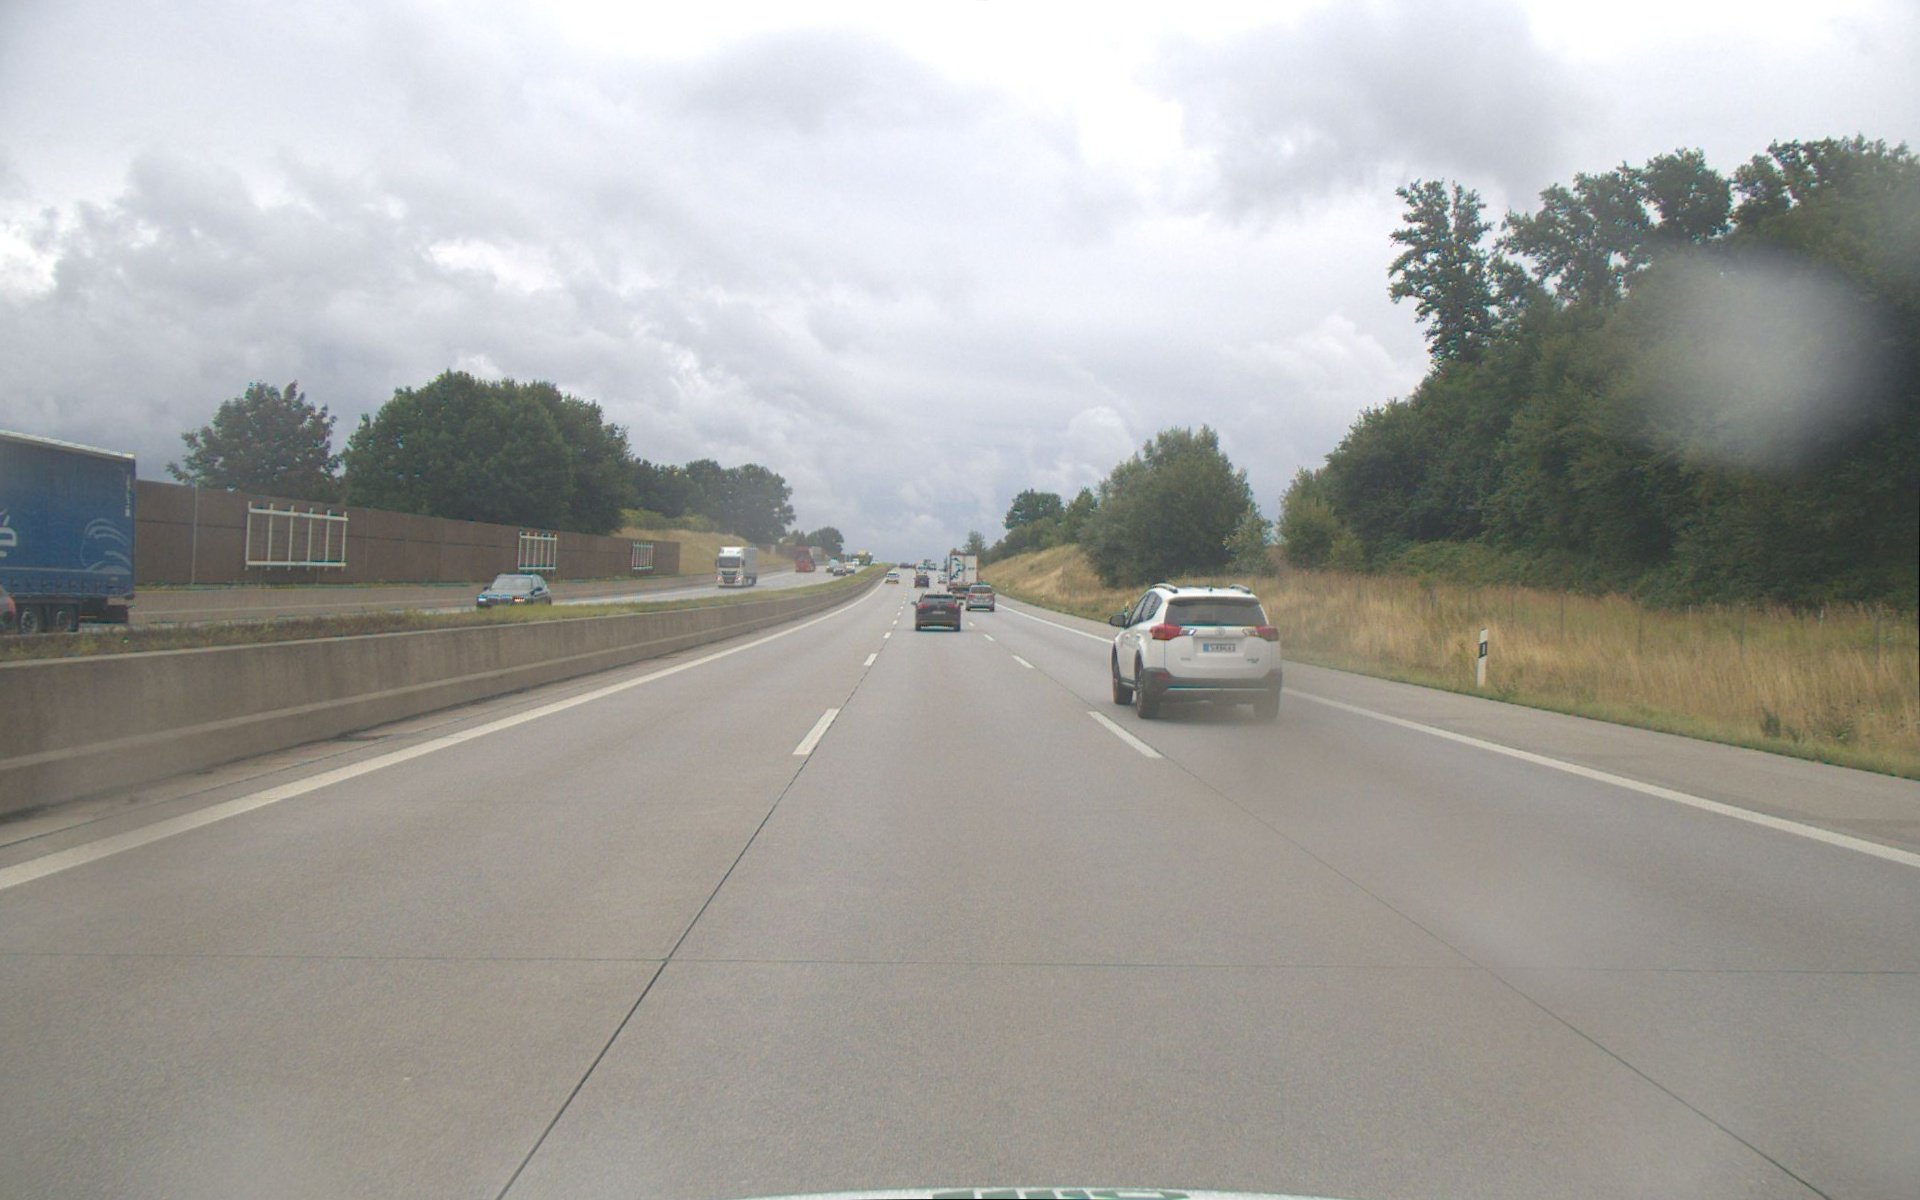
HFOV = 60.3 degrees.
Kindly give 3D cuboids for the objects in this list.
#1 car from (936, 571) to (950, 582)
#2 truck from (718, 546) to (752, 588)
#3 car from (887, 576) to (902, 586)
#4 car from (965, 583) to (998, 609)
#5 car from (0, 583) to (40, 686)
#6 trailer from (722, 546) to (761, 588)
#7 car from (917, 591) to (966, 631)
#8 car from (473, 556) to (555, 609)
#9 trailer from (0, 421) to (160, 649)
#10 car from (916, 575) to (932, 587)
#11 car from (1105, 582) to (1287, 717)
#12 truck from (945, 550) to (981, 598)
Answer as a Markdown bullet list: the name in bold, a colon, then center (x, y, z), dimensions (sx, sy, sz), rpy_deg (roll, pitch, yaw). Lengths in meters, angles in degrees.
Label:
- **car**: center (-2.550, -3.486, 245.948), dimensions (1.952, 1.668, 4.000), rpy_deg (1, 0, 1)
- **truck**: center (-22.666, -3.279, 166.873), dimensions (2.628, 4.154, 6.215), rpy_deg (1, 0, -2)
- **car**: center (-9.067, -2.614, 229.993), dimensions (1.908, 1.379, 4.259), rpy_deg (1, 1, 0)
- **car**: center (1.350, -0.241, 105.121), dimensions (1.953, 1.557, 4.000), rpy_deg (1, 0, 0)
- **car**: center (-15.066, 0.511, 23.494), dimensions (1.604, 1.526, 4.516), rpy_deg (1, 0, -3)
- **trailer**: center (-22.876, -3.405, 173.747), dimensions (2.642, 4.167, 14.001), rpy_deg (1, 1, -2)
- **car**: center (-0.740, 0.411, 62.656), dimensions (1.717, 1.422, 4.482), rpy_deg (1, 0, -2)
- **car**: center (-15.877, -0.601, 59.089), dimensions (1.780, 1.798, 4.730), rpy_deg (1, 0, -2)
- **trailer**: center (-19.310, -1.235, 30.480), dimensions (2.655, 4.281, 13.791), rpy_deg (1, 1, -1)
- **car**: center (-4.597, -2.424, 209.162), dimensions (1.896, 1.399, 4.594), rpy_deg (2, -1, 0)
- **car**: center (3.156, 0.618, 22.905), dimensions (1.789, 1.684, 3.983), rpy_deg (1, 0, -2)
- **truck**: center (0.226, -2.341, 151.539), dimensions (2.956, 4.253, 8.352), rpy_deg (1, 0, -1)
